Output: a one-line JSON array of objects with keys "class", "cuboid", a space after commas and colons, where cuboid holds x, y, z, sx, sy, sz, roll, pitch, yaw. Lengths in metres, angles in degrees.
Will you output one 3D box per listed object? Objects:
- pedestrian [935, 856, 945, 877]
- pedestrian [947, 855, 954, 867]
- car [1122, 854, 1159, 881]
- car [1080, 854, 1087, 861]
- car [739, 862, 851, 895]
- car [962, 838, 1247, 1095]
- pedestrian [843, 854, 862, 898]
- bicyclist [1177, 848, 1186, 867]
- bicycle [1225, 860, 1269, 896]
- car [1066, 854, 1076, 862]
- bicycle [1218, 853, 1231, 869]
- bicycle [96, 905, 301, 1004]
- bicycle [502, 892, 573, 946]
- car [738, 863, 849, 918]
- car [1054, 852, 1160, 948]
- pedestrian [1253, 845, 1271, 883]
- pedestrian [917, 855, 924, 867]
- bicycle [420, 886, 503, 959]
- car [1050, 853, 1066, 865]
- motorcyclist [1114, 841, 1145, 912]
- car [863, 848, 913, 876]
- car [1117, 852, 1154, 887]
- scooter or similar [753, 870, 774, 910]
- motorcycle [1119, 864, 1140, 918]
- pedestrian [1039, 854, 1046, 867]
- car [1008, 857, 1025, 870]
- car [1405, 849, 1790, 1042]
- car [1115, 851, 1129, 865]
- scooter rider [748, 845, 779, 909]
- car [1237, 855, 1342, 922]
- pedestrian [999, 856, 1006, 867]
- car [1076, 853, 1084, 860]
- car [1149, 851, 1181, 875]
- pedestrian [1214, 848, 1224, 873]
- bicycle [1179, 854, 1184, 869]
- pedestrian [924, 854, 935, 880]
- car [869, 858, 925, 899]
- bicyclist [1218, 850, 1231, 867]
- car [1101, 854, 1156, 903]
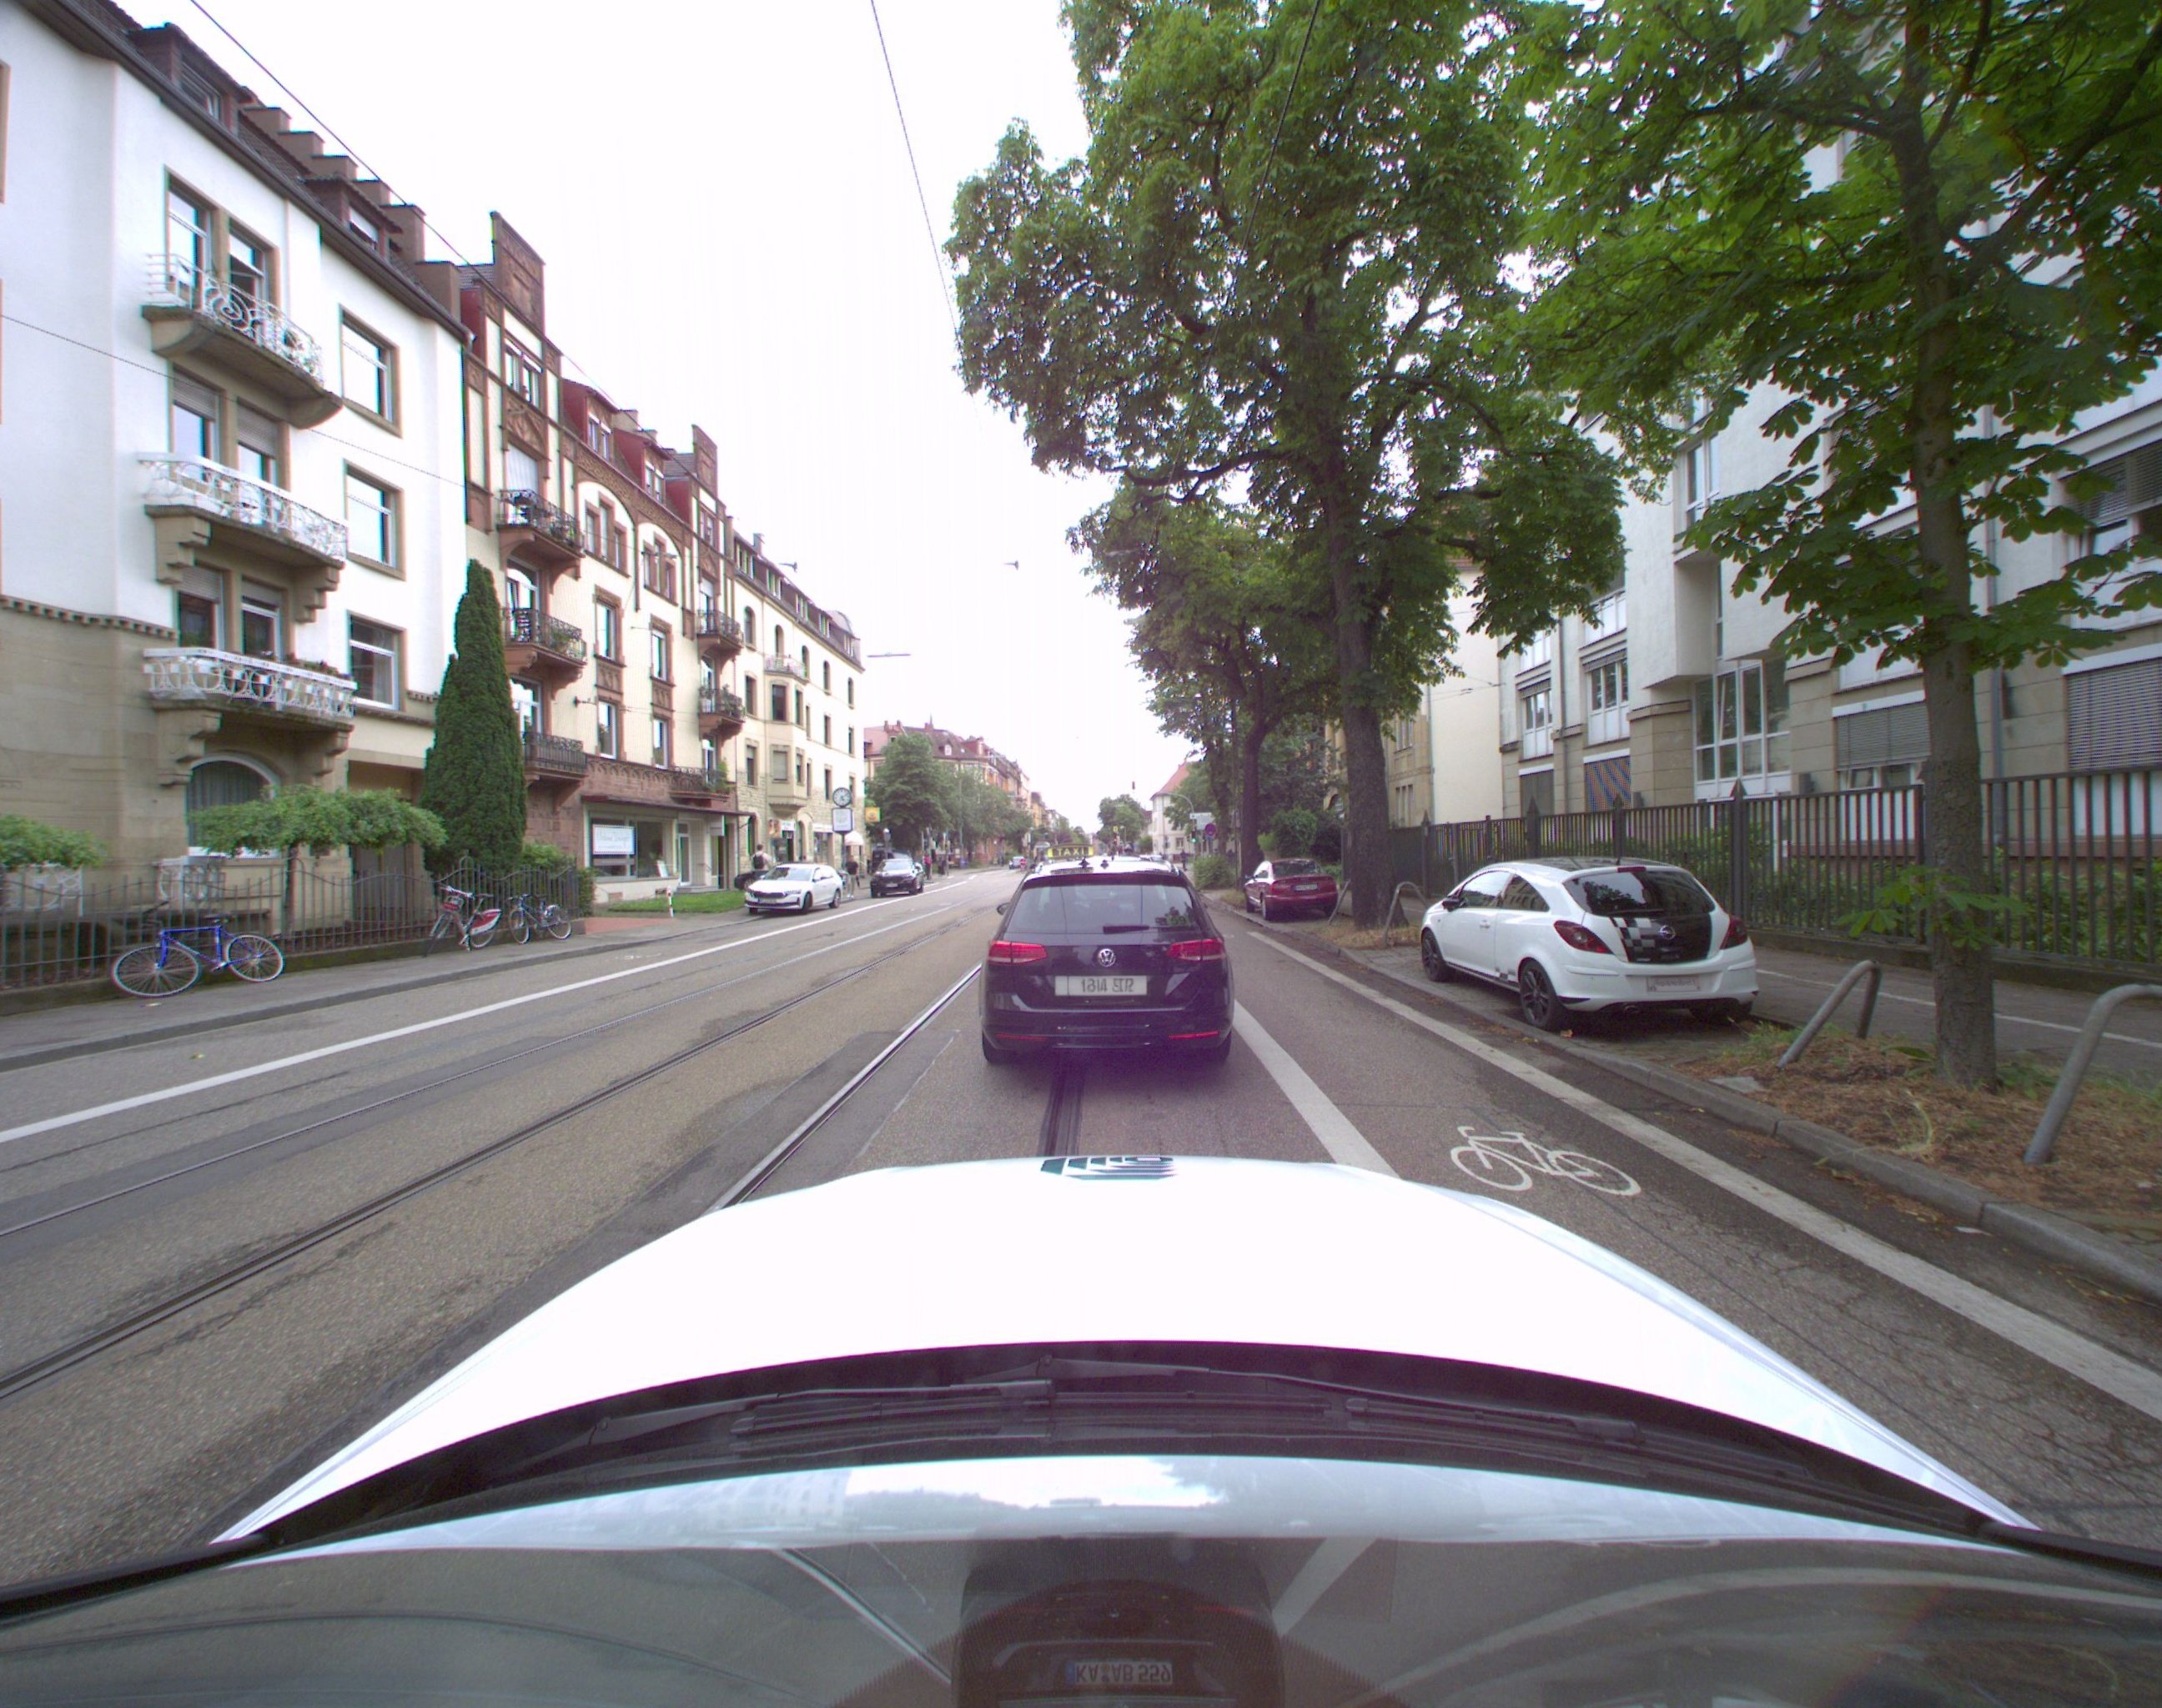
[{"class": "pedestrian", "cuboid": [-11.383, 1.011, 65.699, 0.587, 1.663, 0.839, -2, 0, -2]}, {"class": "pedestrian", "cuboid": [-17.507, 0.946, 108.978, 0.582, 1.520, 0.653, -2, 0, 37]}, {"class": "car", "cuboid": [3.555, 0.766, 47.940, 1.881, 1.408, 4.009, -2, 0, 8]}, {"class": "car", "cuboid": [0.761, 0.978, 223.335, 1.987, 2.014, 4.000, 0, -1, 1]}, {"class": "car", "cuboid": [-12.990, 1.090, 37.173, 4.415, 1.370, 1.878, 1, 0, -3]}, {"class": "car", "cuboid": [0.208, 0.686, 6.979, 1.717, 1.546, 4.002, -1, 0, 2]}, {"class": "pedestrian", "cuboid": [-9.850, 0.951, 35.083, 0.670, 1.844, 0.876, -2, 0, -19]}, {"class": "bicyclist", "cuboid": [8.426, 0.263, 68.244, 0.647, 1.568, 0.697, -2, 0, 9]}, {"class": "bicycle", "cuboid": [5.663, 0.795, 27.785, 1.915, 1.198, 0.428, 0, -2, -43]}, {"class": "car", "cuboid": [-1.900, 0.807, 160.878, 1.715, 1.622, 3.864, -2, 0, 1]}, {"class": "bicycle", "cuboid": [11.277, 0.571, 64.040, 1.162, 1.196, 0.250, -2, 0, -37]}, {"class": "bicycle", "cuboid": [-10.828, 1.194, 10.086, 0.356, 0.928, 1.663, -20, -1, 4]}, {"class": "bicycle", "cuboid": [-10.710, 1.262, 16.099, 0.331, 0.938, 1.516, -2, 0, 1]}, {"class": "car", "cuboid": [-8.899, 1.067, 25.650, 1.741, 1.484, 4.610, -2, 0, 1]}, {"class": "car", "cuboid": [0.501, 0.750, 15.408, 1.717, 1.546, 4.002, -1, 0, 2]}, {"class": "pedestrian", "cuboid": [8.800, 0.496, 39.610, 0.630, 1.815, 0.726, -2, 0, -1]}, {"class": "pedestrian", "cuboid": [-21.335, 0.968, 107.944, 0.582, 1.520, 0.653, -2, 0, 37]}, {"class": "bicycle", "cuboid": [-10.553, 1.132, 13.923, 0.385, 1.102, 1.620, -2, 0, -9]}, {"class": "car", "cuboid": [-3.457, 0.759, 121.856, 1.985, 1.791, 4.004, 0, -1, 4]}, {"class": "motorcyclist", "cuboid": [1.200, 0.540, 20.153, 0.700, 1.692, 0.805, -2, 0, 1]}, {"class": "car", "cuboid": [-17.561, 0.773, 73.970, 2.197, 2.417, 5.316, -1, 0, -41]}, {"class": "car", "cuboid": [2.550, 0.715, 38.633, 1.600, 1.556, 3.579, 0, -1, 2]}, {"class": "scooter or similar", "cuboid": [-10.346, 1.158, 26.549, 0.230, 1.234, 0.954, -2, 0, 2]}, {"class": "motorcycle", "cuboid": [1.177, 0.881, 20.059, 0.445, 1.235, 1.907, -2, 0, 2]}, {"class": "pedestrian", "cuboid": [-4.463, 0.774, 95.169, 0.711, 1.520, 0.590, -2, 0, 3]}, {"class": "car", "cuboid": [-7.486, 1.053, 94.682, 1.604, 1.422, 3.484, -3, 0, -1]}, {"class": "car", "cuboid": [4.815, 0.718, 8.305, 1.596, 1.435, 3.779, -3, 0, 3]}, {"class": "car", "cuboid": [6.067, 0.606, 121.761, 2.025, 2.014, 4.001, 0, -1, 2]}, {"class": "scooter rider", "cuboid": [-10.366, 0.740, 26.602, 0.639, 2.013, 0.758, -2, 0, 1]}, {"class": "car", "cuboid": [5.078, 0.775, 20.395, 1.596, 1.399, 4.229, -3, 0, 2]}, {"class": "pedestrian", "cuboid": [-10.563, 1.042, 109.933, 0.582, 1.520, 0.653, -2, 0, 37]}, {"class": "car", "cuboid": [-0.253, 0.501, 189.241, 1.715, 1.622, 3.864, -2, 0, 1]}, {"class": "car", "cuboid": [5.859, 0.645, 57.050, 1.986, 1.577, 4.001, 0, -1, 2]}, {"class": "pedestrian", "cuboid": [10.279, 0.487, 60.791, 0.510, 1.831, 0.420, -5, 0, 18]}, {"class": "bicycle", "cuboid": [8.388, 0.623, 68.126, 0.295, 1.223, 1.434, -2, 0, 9]}, {"class": "pedestrian", "cuboid": [-10.885, 0.925, 58.526, 0.621, 1.842, 0.609, -2, 0, -1]}, {"class": "car", "cuboid": [-8.313, 1.067, 37.214, 1.881, 1.611, 4.875, -4, 0, -7]}, {"class": "bicyclist", "cuboid": [11.278, 0.389, 64.061, 0.699, 1.302, 0.646, -2, 0, -37]}, {"class": "car", "cuboid": [1.581, 0.778, 28.090, 1.717, 1.546, 4.002, -1, 0, 2]}]
